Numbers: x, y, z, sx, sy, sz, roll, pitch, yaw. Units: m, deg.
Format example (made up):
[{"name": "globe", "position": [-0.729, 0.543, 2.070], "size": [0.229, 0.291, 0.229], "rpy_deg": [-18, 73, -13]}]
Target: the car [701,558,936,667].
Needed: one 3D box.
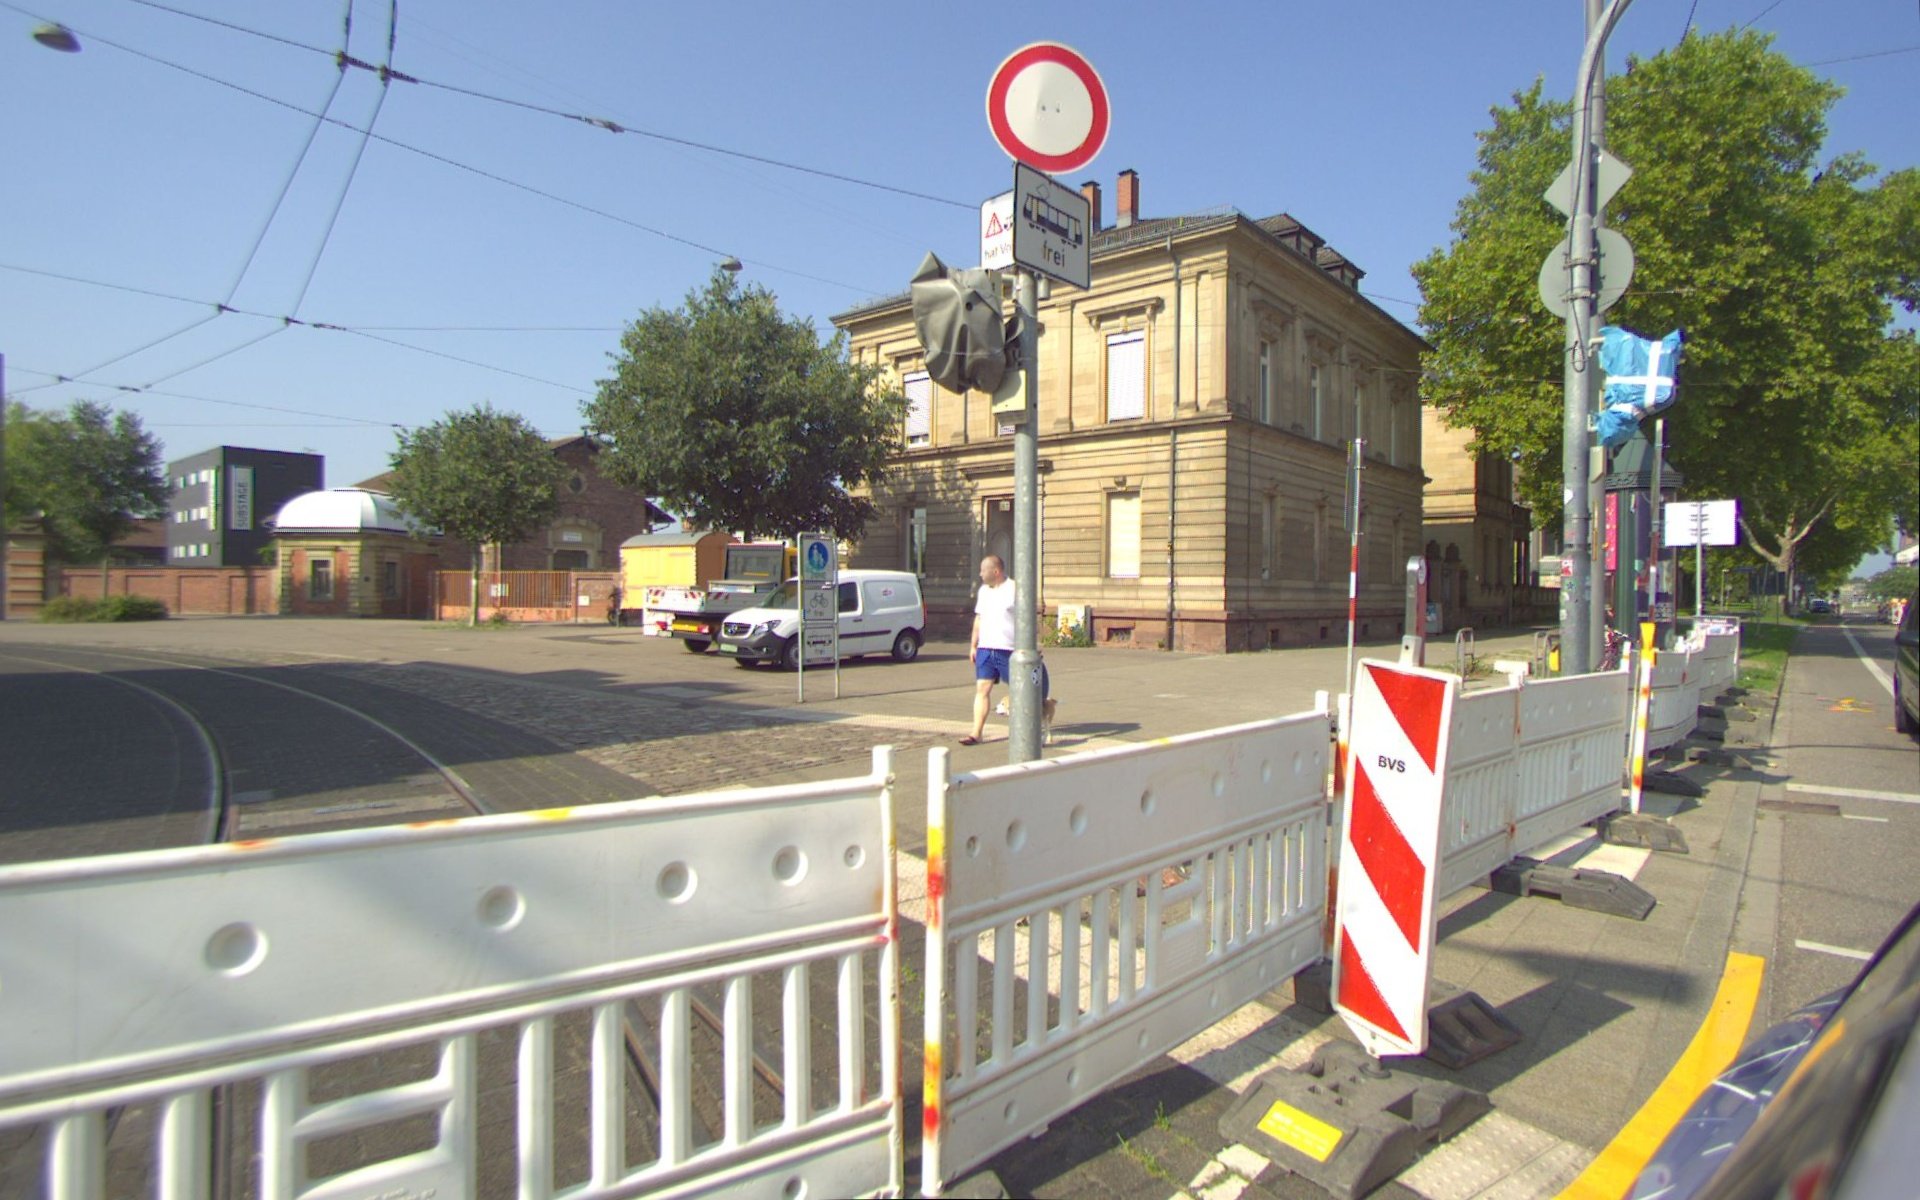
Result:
[{"name": "car", "position": [-2.596, 0.171, 19.253], "size": [1.904, 1.805, 4.158], "rpy_deg": [3, 2, 44]}]

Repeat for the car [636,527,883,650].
[{"name": "car", "position": [-4.387, -0.269, 23.042], "size": [2.253, 2.453, 5.415], "rpy_deg": [1, 1, 37]}]

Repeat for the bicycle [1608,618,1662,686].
[{"name": "bicycle", "position": [11.202, 0.835, 16.773], "size": [0.538, 1.019, 1.548], "rpy_deg": [3, 2, 41]}]

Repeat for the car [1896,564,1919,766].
[{"name": "car", "position": [10.988, 0.597, 10.394], "size": [1.846, 1.910, 4.117], "rpy_deg": [0, 0, 41]}]

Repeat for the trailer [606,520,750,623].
[{"name": "trailer", "position": [-9.136, -0.922, 32.714], "size": [4.093, 3.086, 2.484], "rpy_deg": [1, 2, 35]}]

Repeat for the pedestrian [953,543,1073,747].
[{"name": "pedestrian", "position": [0.483, 0.379, 9.243], "size": [0.865, 1.759, 0.661], "rpy_deg": [1, 1, 40]}]
